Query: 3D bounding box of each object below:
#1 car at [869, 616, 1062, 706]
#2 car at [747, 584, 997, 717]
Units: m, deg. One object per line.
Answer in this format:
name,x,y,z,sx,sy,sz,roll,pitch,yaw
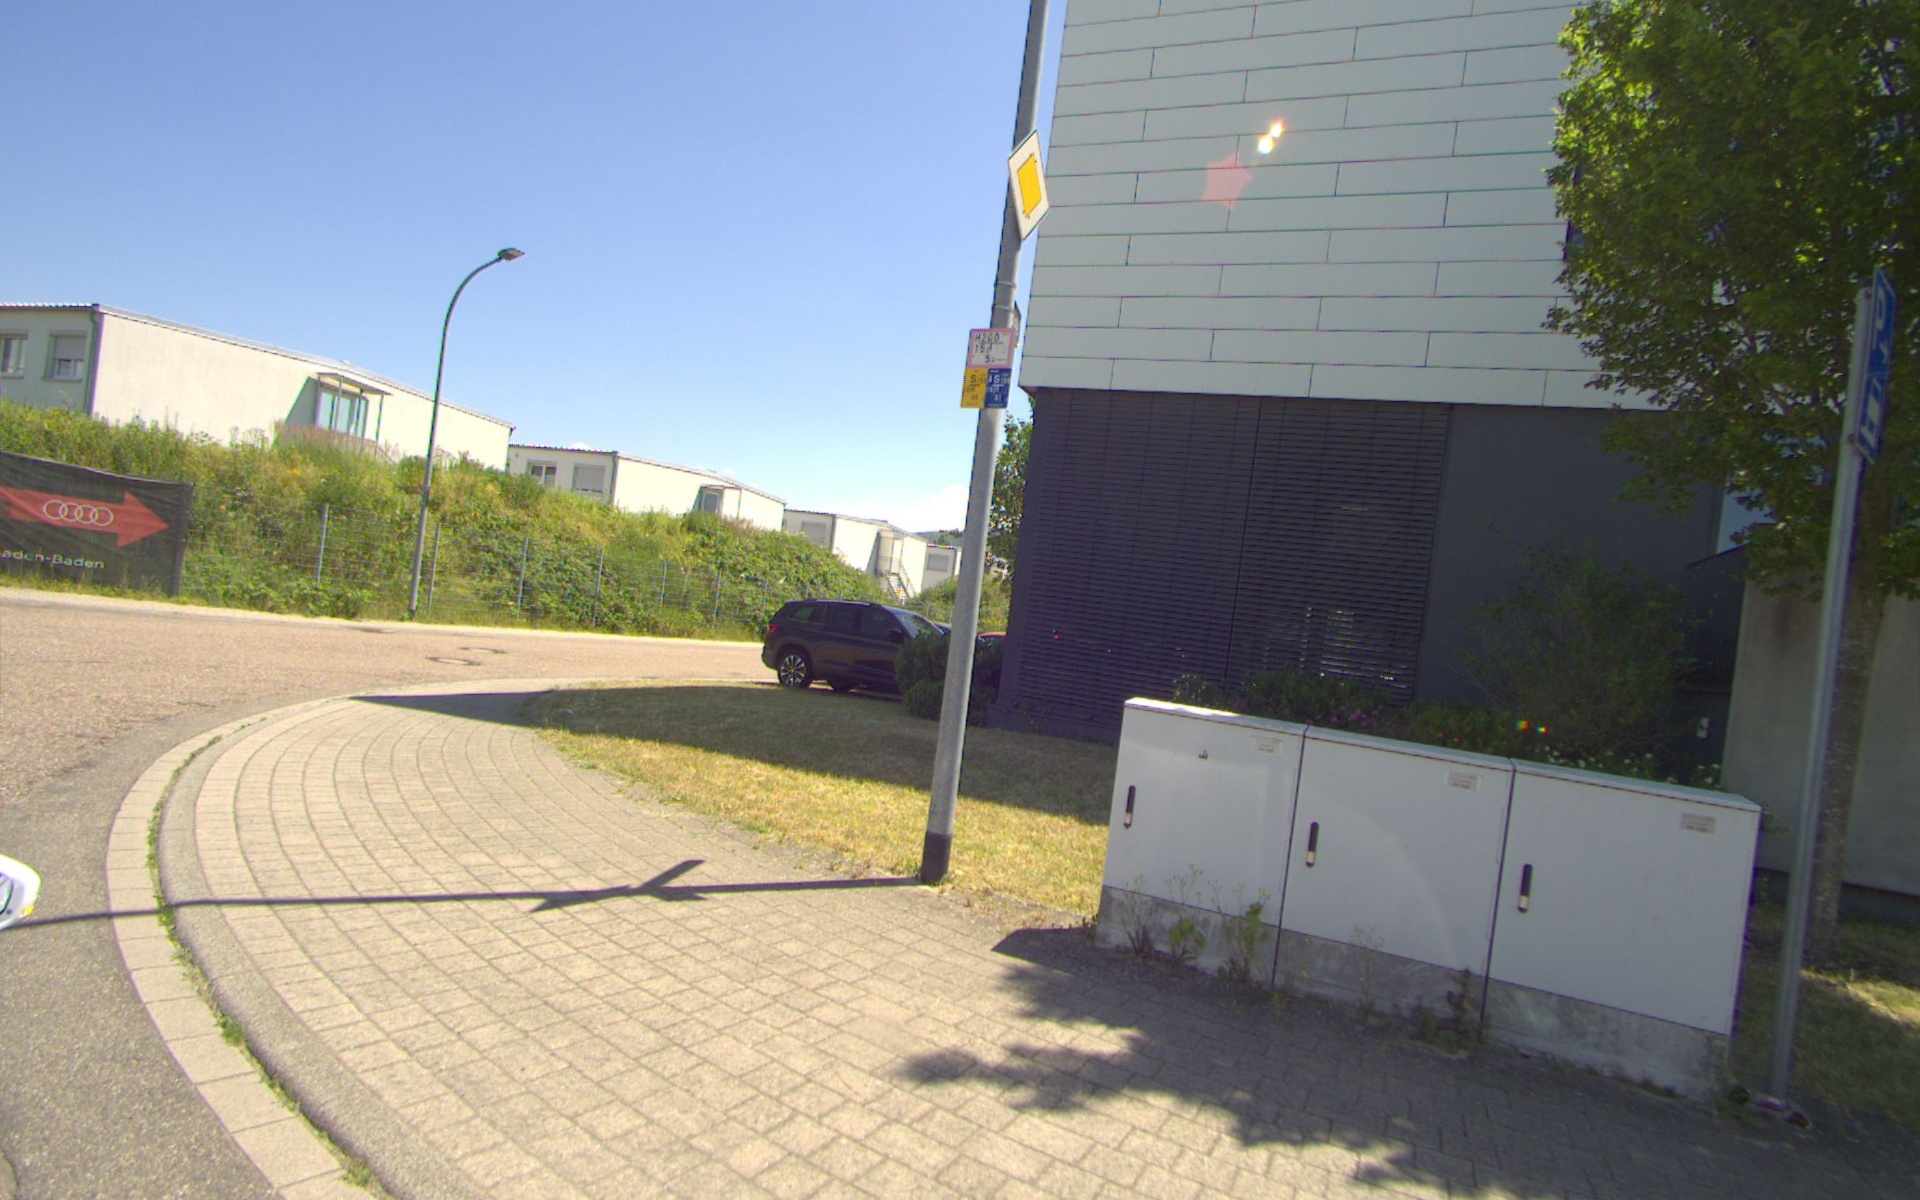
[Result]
car,0.133,1.390,23.057,3.927,1.512,1.725,6,-1,23
car,-1.571,0.865,17.801,3.930,1.786,1.723,6,-1,27
